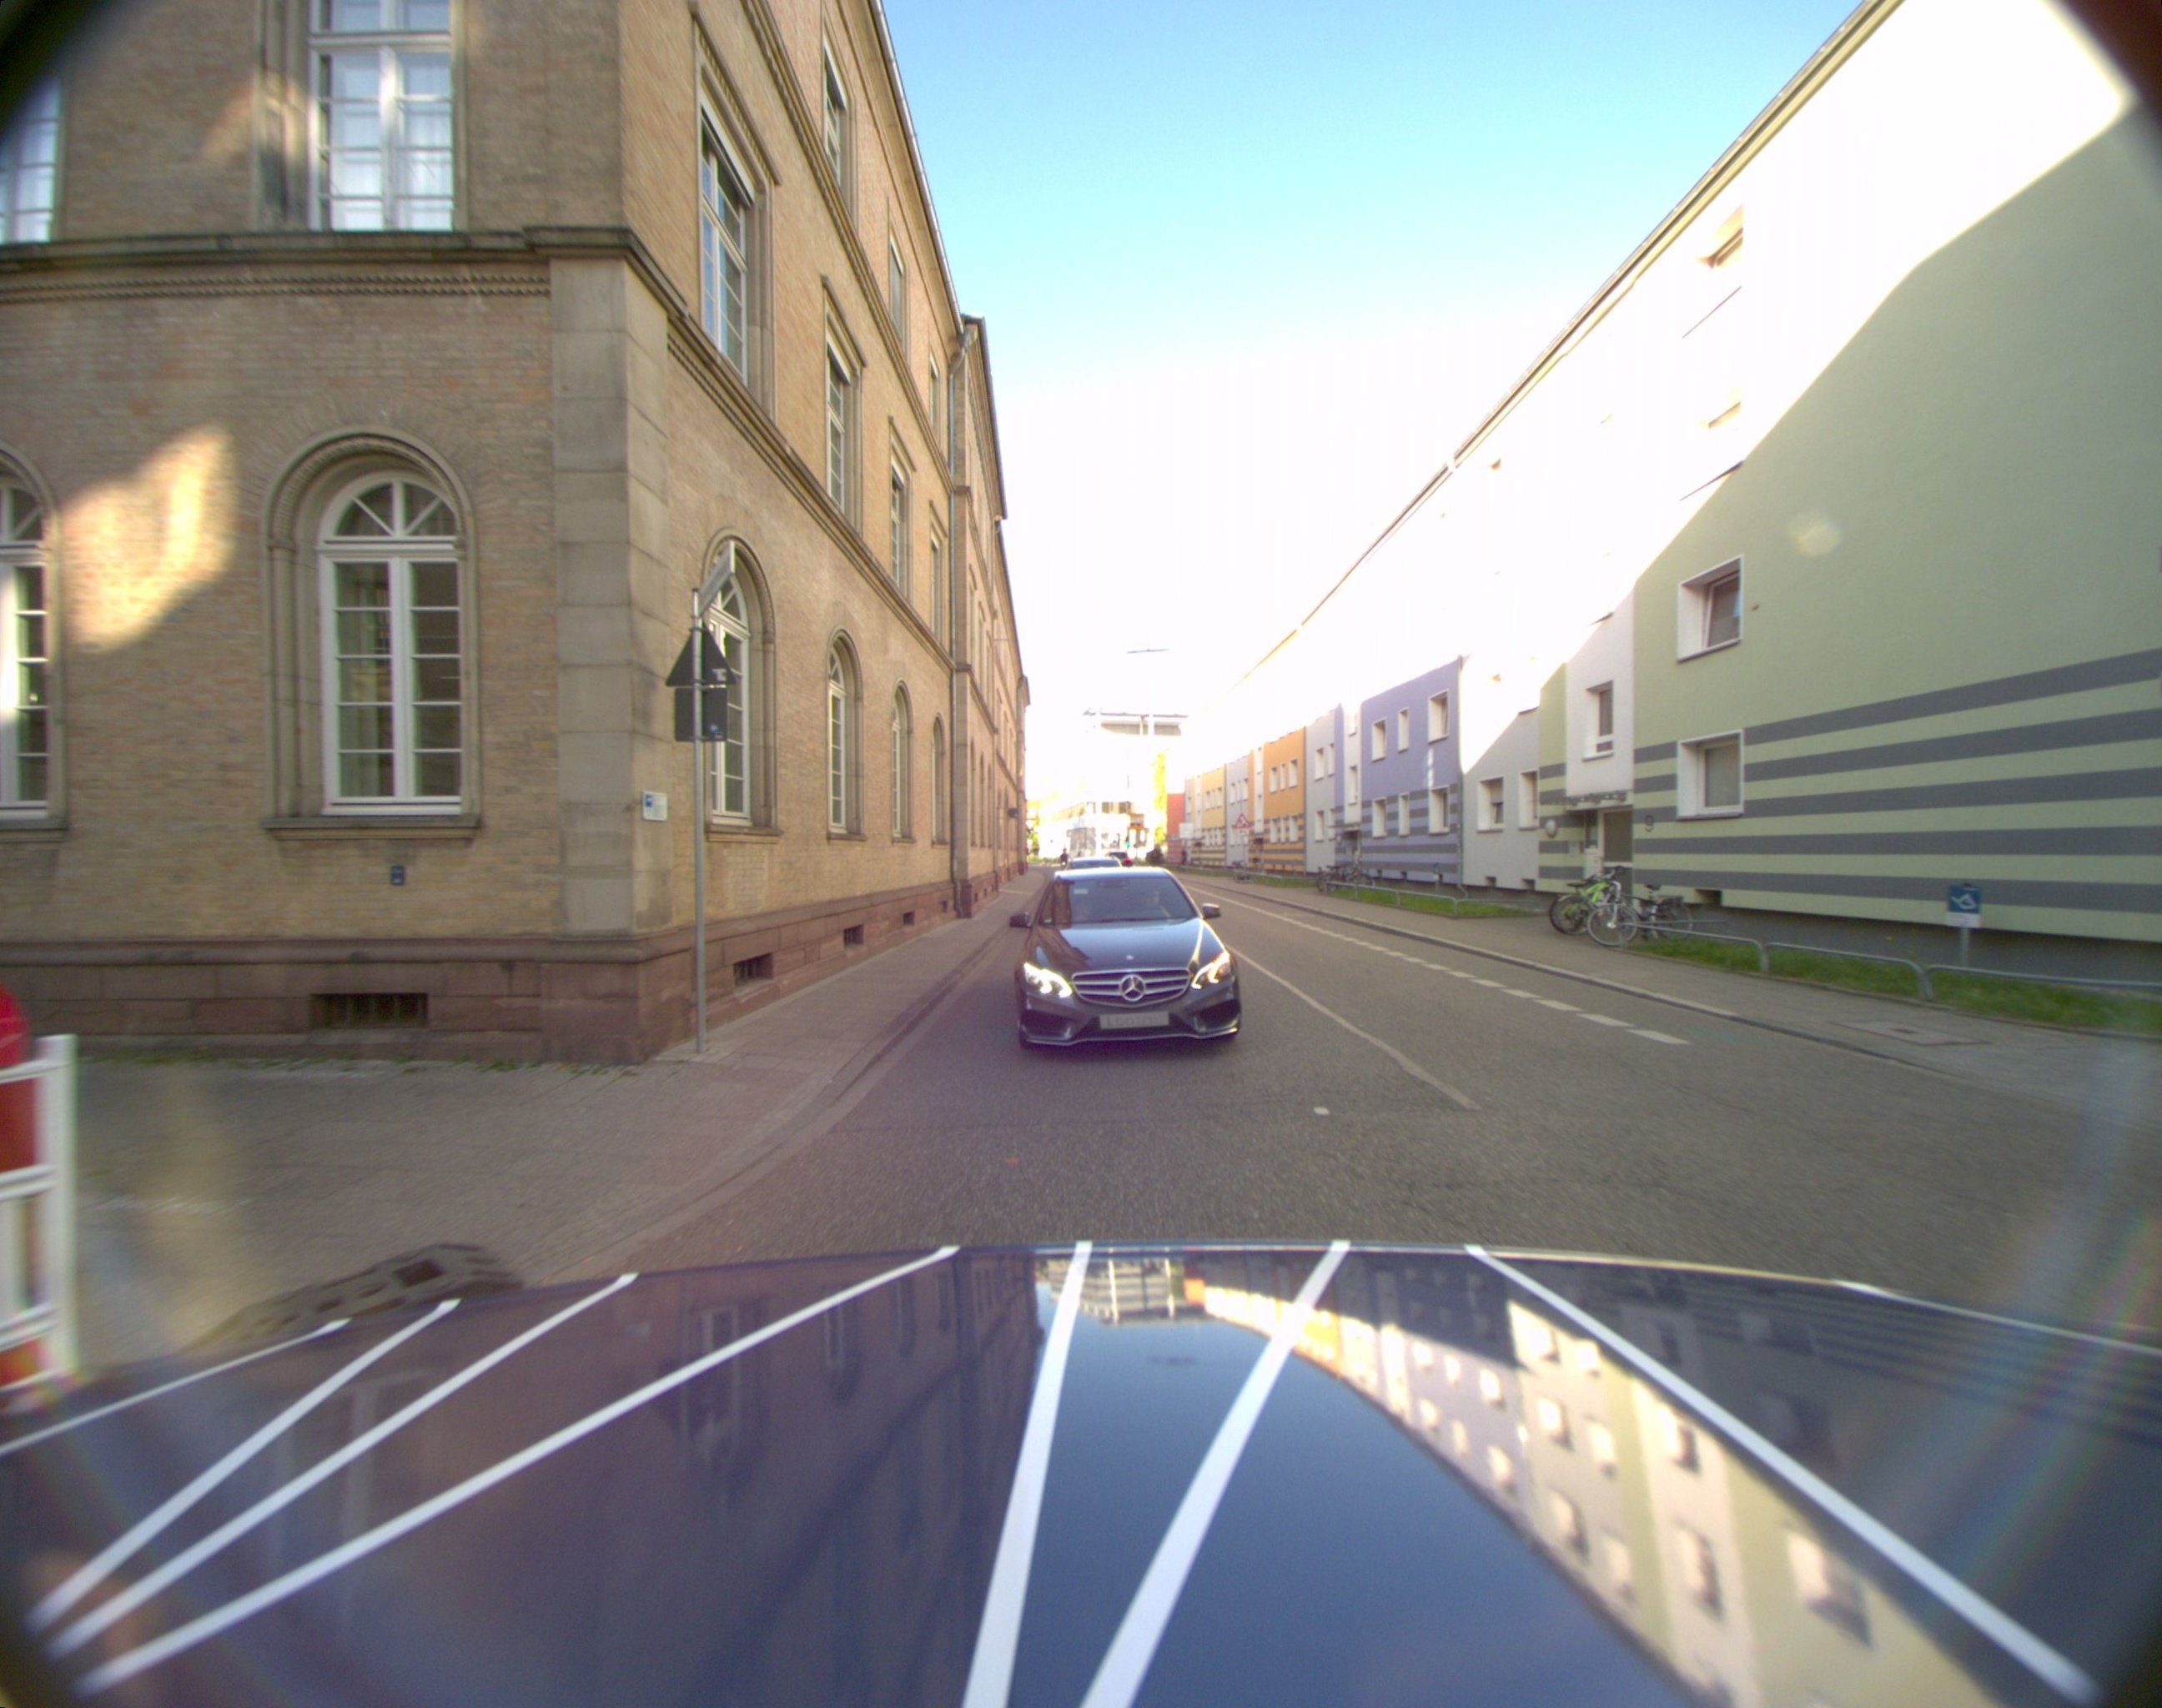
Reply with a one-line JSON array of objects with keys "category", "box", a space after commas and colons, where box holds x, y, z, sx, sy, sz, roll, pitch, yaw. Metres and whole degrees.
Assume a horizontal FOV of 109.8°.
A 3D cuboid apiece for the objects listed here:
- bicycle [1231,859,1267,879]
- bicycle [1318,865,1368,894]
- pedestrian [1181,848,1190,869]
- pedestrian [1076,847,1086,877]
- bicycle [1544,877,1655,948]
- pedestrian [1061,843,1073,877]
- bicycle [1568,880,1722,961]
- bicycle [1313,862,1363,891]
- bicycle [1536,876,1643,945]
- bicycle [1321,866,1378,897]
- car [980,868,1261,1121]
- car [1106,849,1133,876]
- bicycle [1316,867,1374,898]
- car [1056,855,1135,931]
[{"category": "bicycle", "box": [9.395, 0.824, 42.634, 1.807, 0.977, 0.654, -5, 1, -2]}, {"category": "bicycle", "box": [9.600, 0.917, 27.876, 1.657, 0.940, 0.388, -4, 1, 1]}, {"category": "pedestrian", "box": [8.091, 0.368, 58.869, 0.612, 1.641, 0.447, 0, 1, -5]}, {"category": "pedestrian", "box": [0.016, 0.482, 45.474, 0.603, 1.770, 0.652, 0, 1, 0]}, {"category": "bicycle", "box": [9.186, 1.022, 13.459, 1.738, 1.094, 0.388, -4, 1, -6]}, {"category": "pedestrian", "box": [-0.816, 0.327, 44.044, 0.677, 1.928, 0.858, 0, 1, 0]}, {"category": "bicycle", "box": [8.893, 1.037, 12.028, 1.820, 1.094, 0.749, -4, 1, 1]}, {"category": "bicycle", "box": [9.560, 0.844, 28.282, 1.657, 0.940, 0.388, -4, 1, 1]}, {"category": "bicycle", "box": [9.273, 1.024, 13.862, 1.738, 1.094, 0.388, -4, 1, -6]}, {"category": "bicycle", "box": [9.388, 0.962, 26.625, 1.802, 0.940, 0.388, -4, 1, 1]}, {"category": "car", "box": [0.304, 0.980, 7.385, 1.785, 1.471, 4.670, -3, 0, 1]}, {"category": "car", "box": [2.747, 0.556, 54.385, 1.682, 1.777, 4.242, -3, 1, 1]}, {"category": "bicycle", "box": [9.008, 0.973, 25.938, 1.802, 0.940, 0.388, -4, 1, 1]}, {"category": "car", "box": [0.368, 0.874, 19.138, 1.682, 1.568, 4.242, -3, 0, 1]}]
